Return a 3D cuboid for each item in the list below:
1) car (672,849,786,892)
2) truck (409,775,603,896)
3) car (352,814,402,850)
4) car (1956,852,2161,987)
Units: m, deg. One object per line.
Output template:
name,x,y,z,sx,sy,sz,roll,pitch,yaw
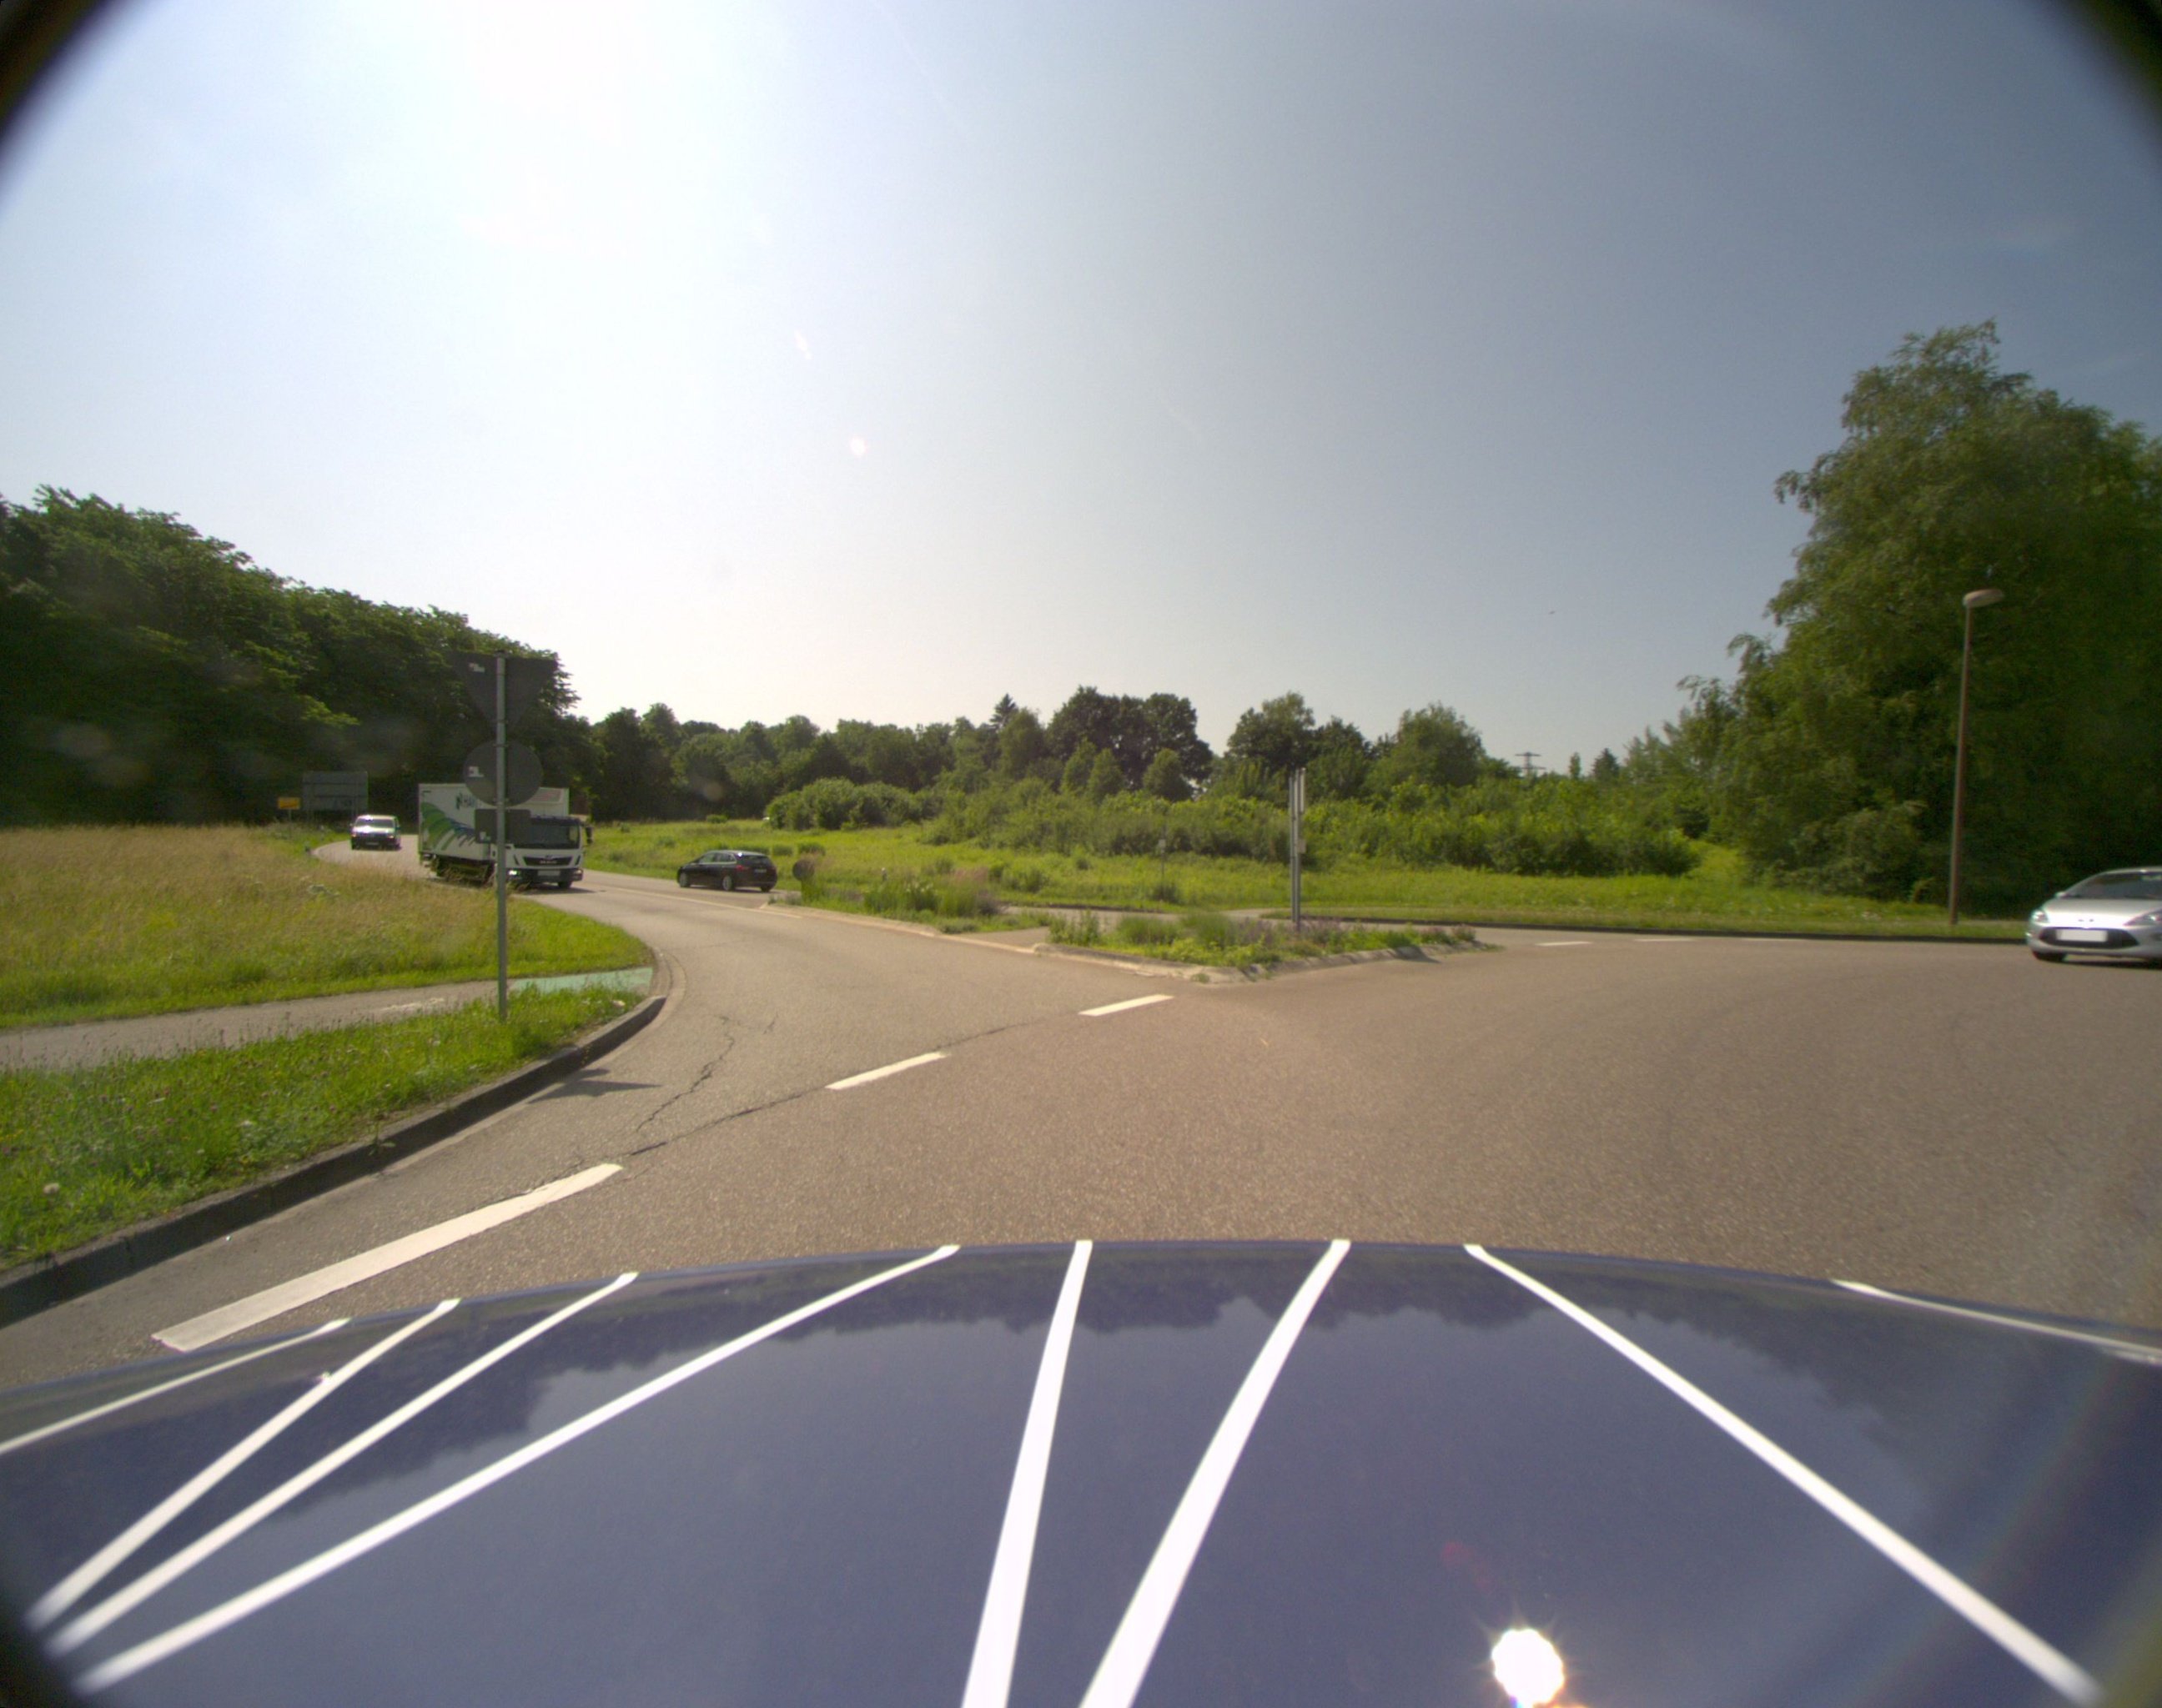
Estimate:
car,-13.346,0.619,28.760,4.201,1.520,1.762,0,-1,30
truck,-21.086,-0.692,27.623,8.996,3.808,2.905,1,3,35
car,-41.985,-1.319,45.260,2.004,2.003,5.585,-3,3,-44
car,16.163,0.864,11.444,4.200,1.606,2.126,-3,1,-12
